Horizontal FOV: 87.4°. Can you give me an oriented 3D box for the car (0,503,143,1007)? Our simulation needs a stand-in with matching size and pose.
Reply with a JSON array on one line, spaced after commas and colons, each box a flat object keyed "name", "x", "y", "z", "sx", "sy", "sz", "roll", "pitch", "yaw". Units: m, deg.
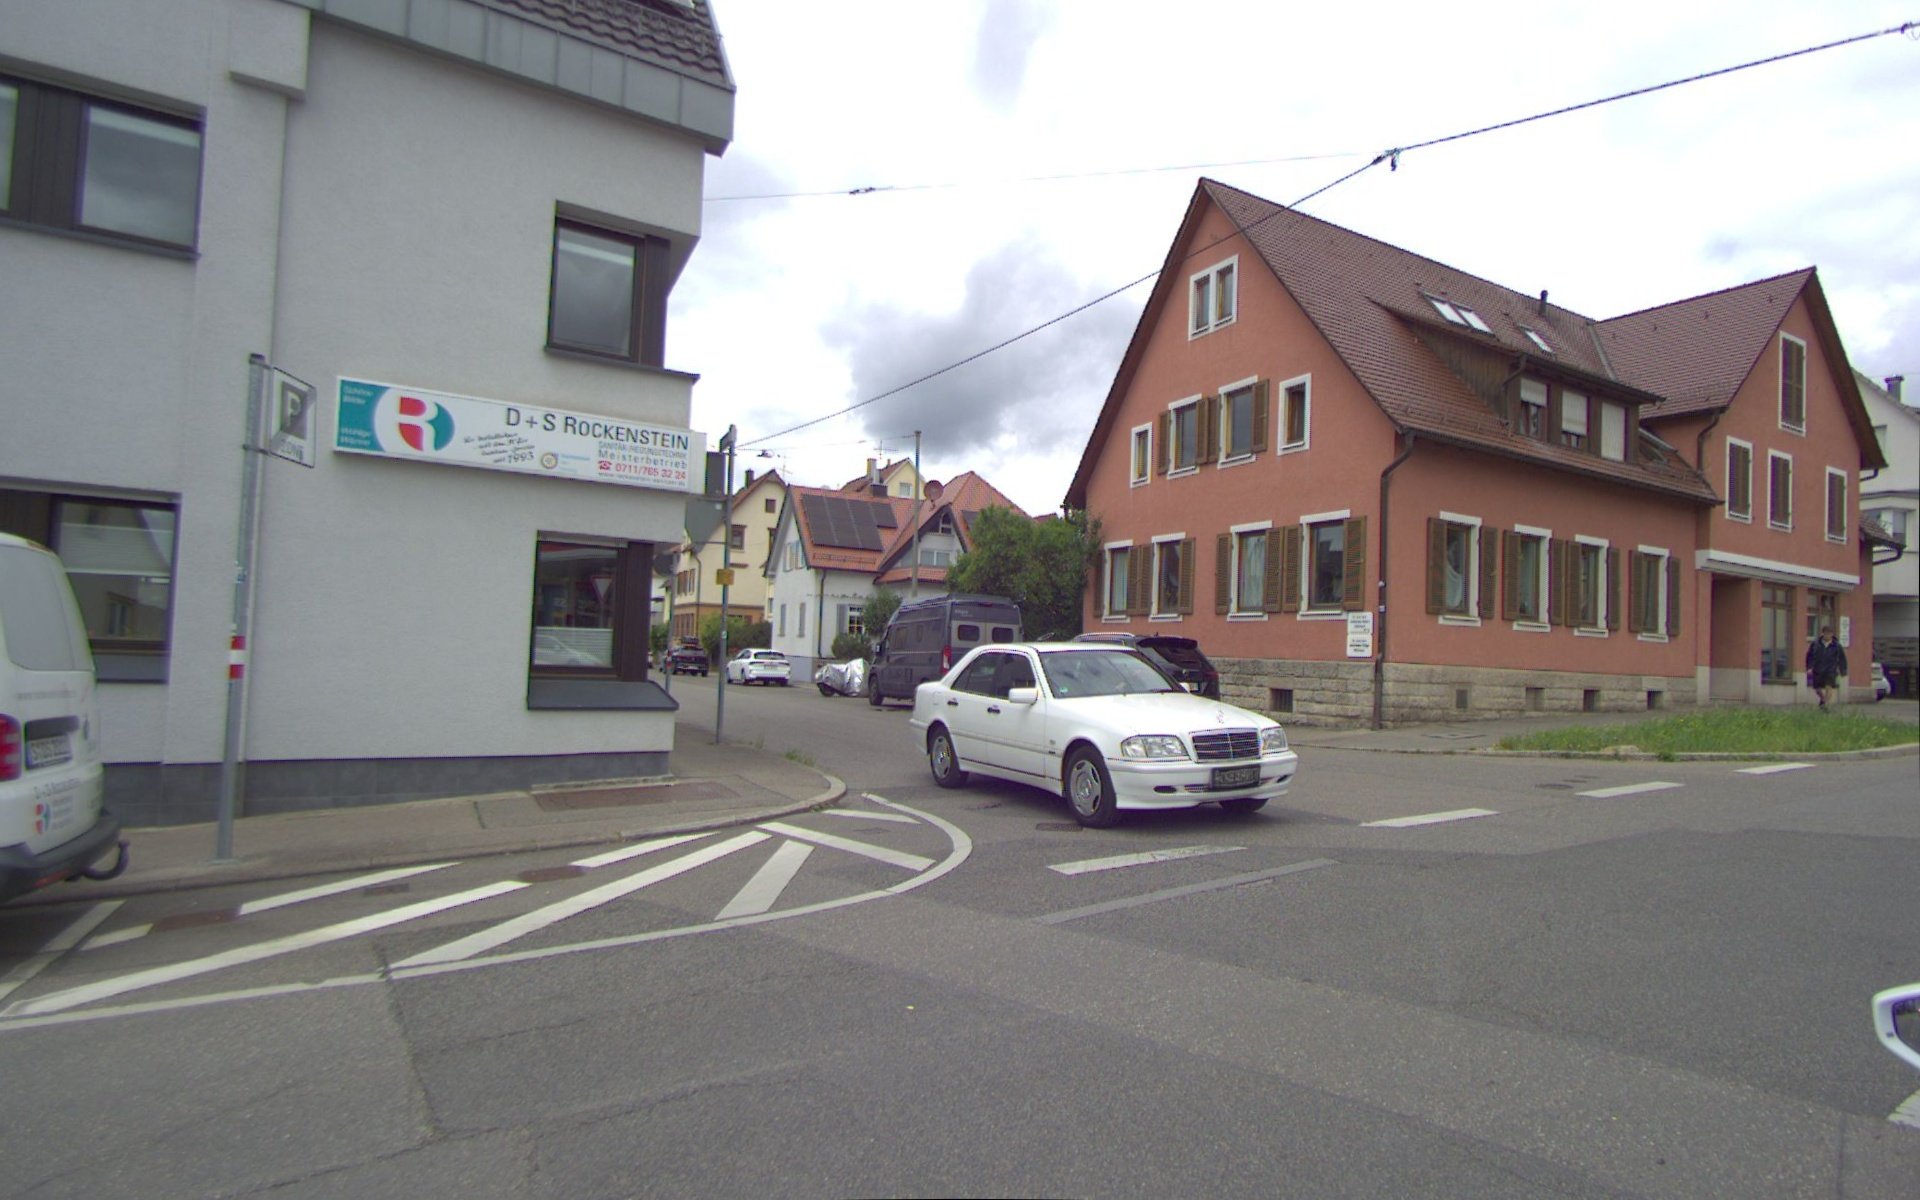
[{"name": "car", "x": -6.228, "y": 0.637, "z": 3.704, "sx": 4.707, "sy": 2.032, "sz": 1.804, "roll": 1, "pitch": -3, "yaw": -31}]

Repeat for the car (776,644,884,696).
[{"name": "car", "x": -4.297, "y": 2.213, "z": 32.493, "sx": 2.239, "sy": 1.527, "sz": 4.808, "roll": 2, "pitch": -3, "yaw": -23}]

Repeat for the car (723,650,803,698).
[{"name": "car", "x": -8.020, "y": 2.938, "z": 40.563, "sx": 2.239, "sy": 1.528, "sz": 4.807, "roll": 2, "pitch": 0, "yaw": -23}]

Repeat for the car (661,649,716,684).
[{"name": "car", "x": -14.665, "y": 3.540, "z": 54.072, "sx": 2.239, "sy": 1.528, "sz": 4.807, "roll": 2, "pitch": 0, "yaw": -23}]

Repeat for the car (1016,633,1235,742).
[{"name": "car", "x": 2.641, "y": 1.456, "z": 17.065, "sx": 1.778, "sy": 1.610, "sz": 4.037, "roll": 2, "pitch": -5, "yaw": -24}]

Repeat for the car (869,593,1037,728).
[{"name": "car", "x": -0.325, "y": 1.285, "z": 23.932, "sx": 2.239, "sy": 2.812, "sz": 4.924, "roll": 1, "pitch": 0, "yaw": -23}]

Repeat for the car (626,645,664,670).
[{"name": "car", "x": -23.493, "y": 4.225, "z": 74.753, "sx": 2.239, "sy": 1.528, "sz": 4.807, "roll": 2, "pitch": 0, "yaw": -23}]

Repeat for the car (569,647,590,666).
[{"name": "car", "x": -45.996, "y": 6.803, "z": 121.438, "sx": 1.974, "sy": 2.040, "sz": 3.973, "roll": 1, "pitch": 0, "yaw": -26}]

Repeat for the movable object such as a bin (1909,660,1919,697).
[{"name": "movable object such as a bin", "x": 27.728, "y": 2.252, "z": 28.775, "sx": 0.788, "sy": 1.031, "sz": 0.661, "roll": 1, "pitch": -2, "yaw": -36}]

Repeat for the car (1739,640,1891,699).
[{"name": "car", "x": 23.611, "y": 1.891, "z": 27.809, "sx": 1.722, "sy": 1.494, "sz": 2.817, "roll": 3, "pitch": -2, "yaw": -29}]

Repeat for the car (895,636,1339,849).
[{"name": "car", "x": 1.101, "y": 1.108, "z": 9.428, "sx": 1.972, "sy": 1.464, "sz": 4.542, "roll": 1, "pitch": -3, "yaw": -24}]

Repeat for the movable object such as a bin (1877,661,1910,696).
[{"name": "movable object such as a bin", "x": 27.255, "y": 2.283, "z": 29.329, "sx": 0.628, "sy": 0.984, "sz": 0.530, "roll": 1, "pitch": 1, "yaw": -32}]

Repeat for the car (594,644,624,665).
[{"name": "car", "x": -31.532, "y": 4.851, "z": 90.163, "sx": 2.239, "sy": 1.528, "sz": 4.807, "roll": 2, "pitch": 0, "yaw": -23}]

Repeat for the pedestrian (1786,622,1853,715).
[{"name": "pedestrian", "x": 17.256, "y": 1.348, "z": 20.174, "sx": 0.883, "sy": 1.808, "sz": 0.796, "roll": 1, "pitch": -1, "yaw": -33}]
